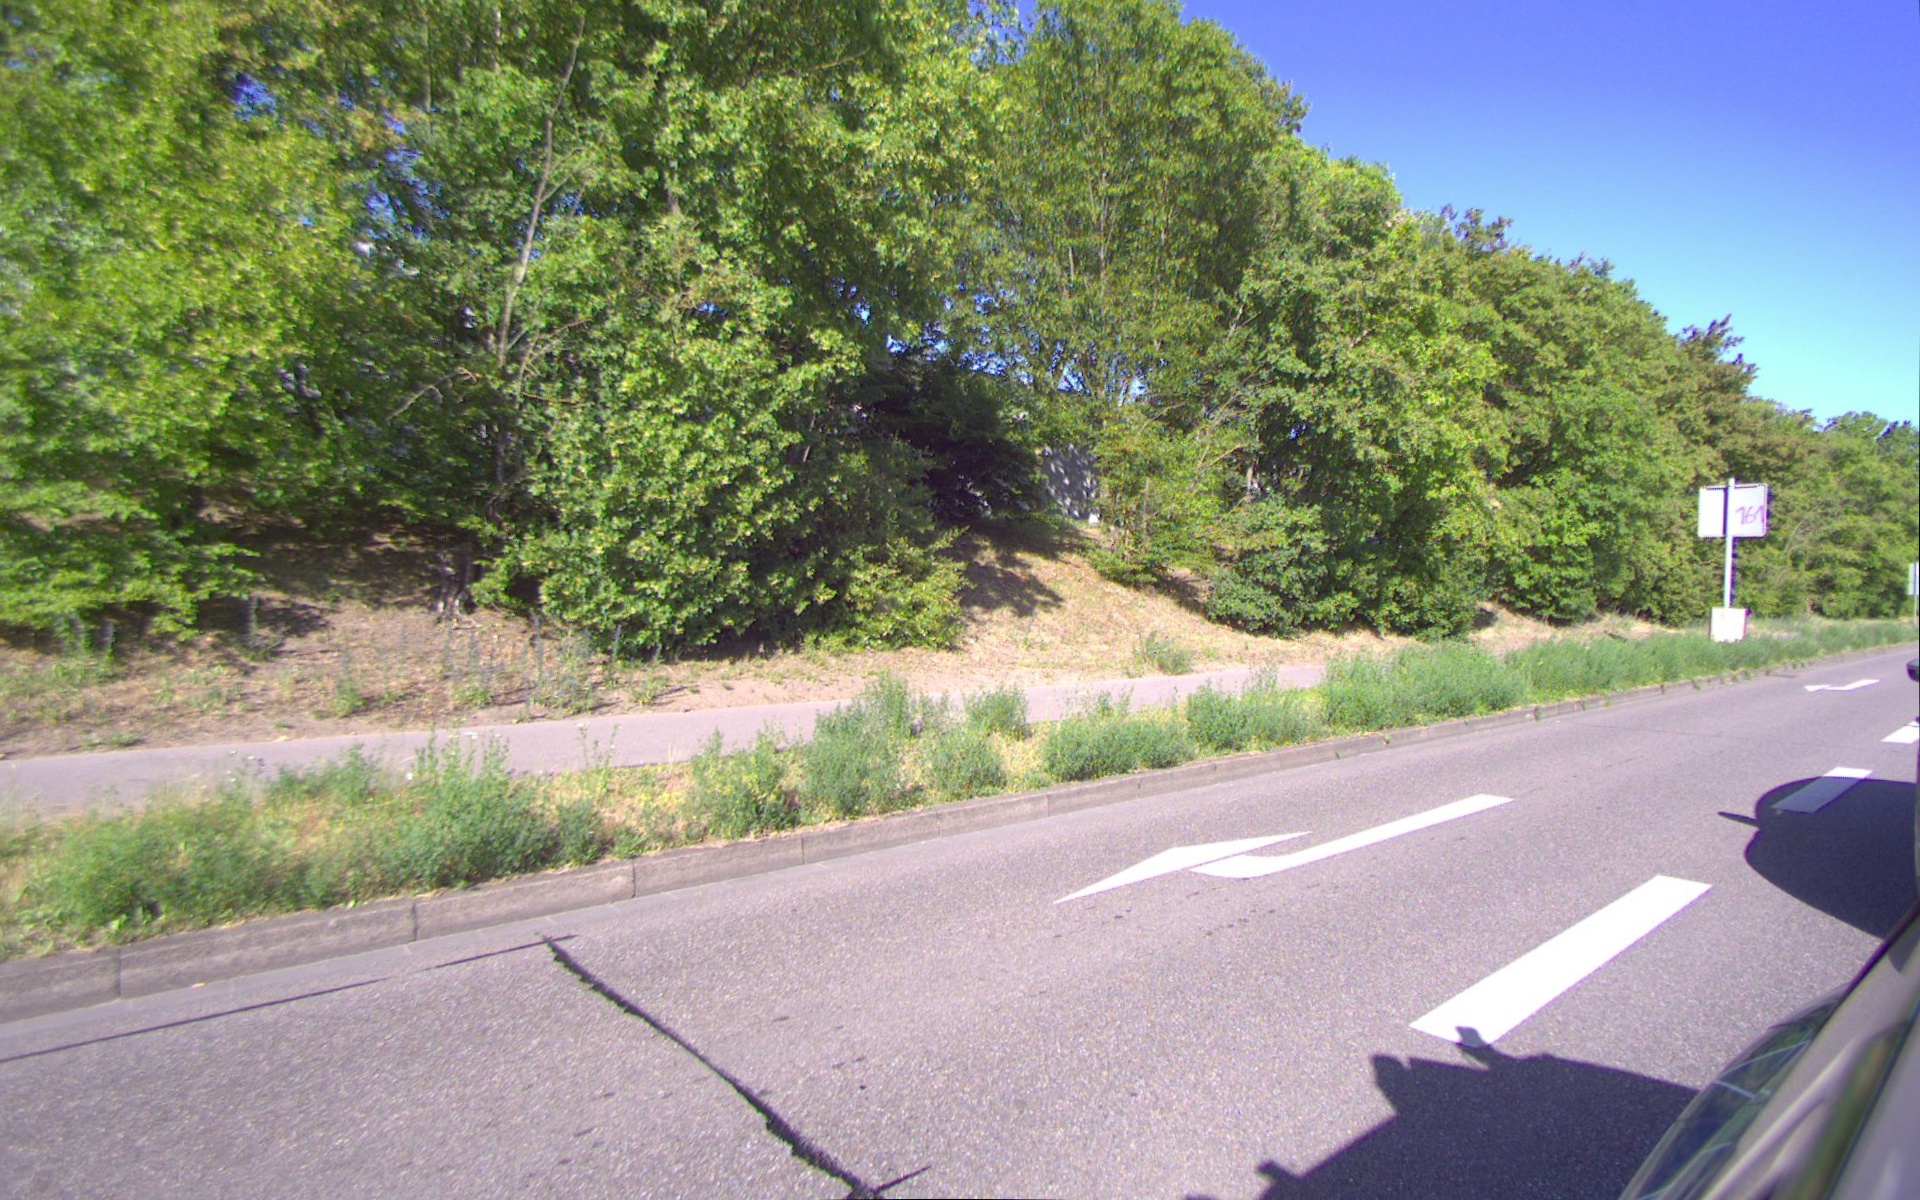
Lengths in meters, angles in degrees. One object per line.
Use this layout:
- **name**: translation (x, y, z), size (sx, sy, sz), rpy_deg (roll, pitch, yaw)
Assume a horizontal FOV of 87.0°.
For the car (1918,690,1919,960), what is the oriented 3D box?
- **car**: translation (5.938, 0.659, 4.644), size (3.863, 1.617, 1.869), rpy_deg (0, 0, -41)
